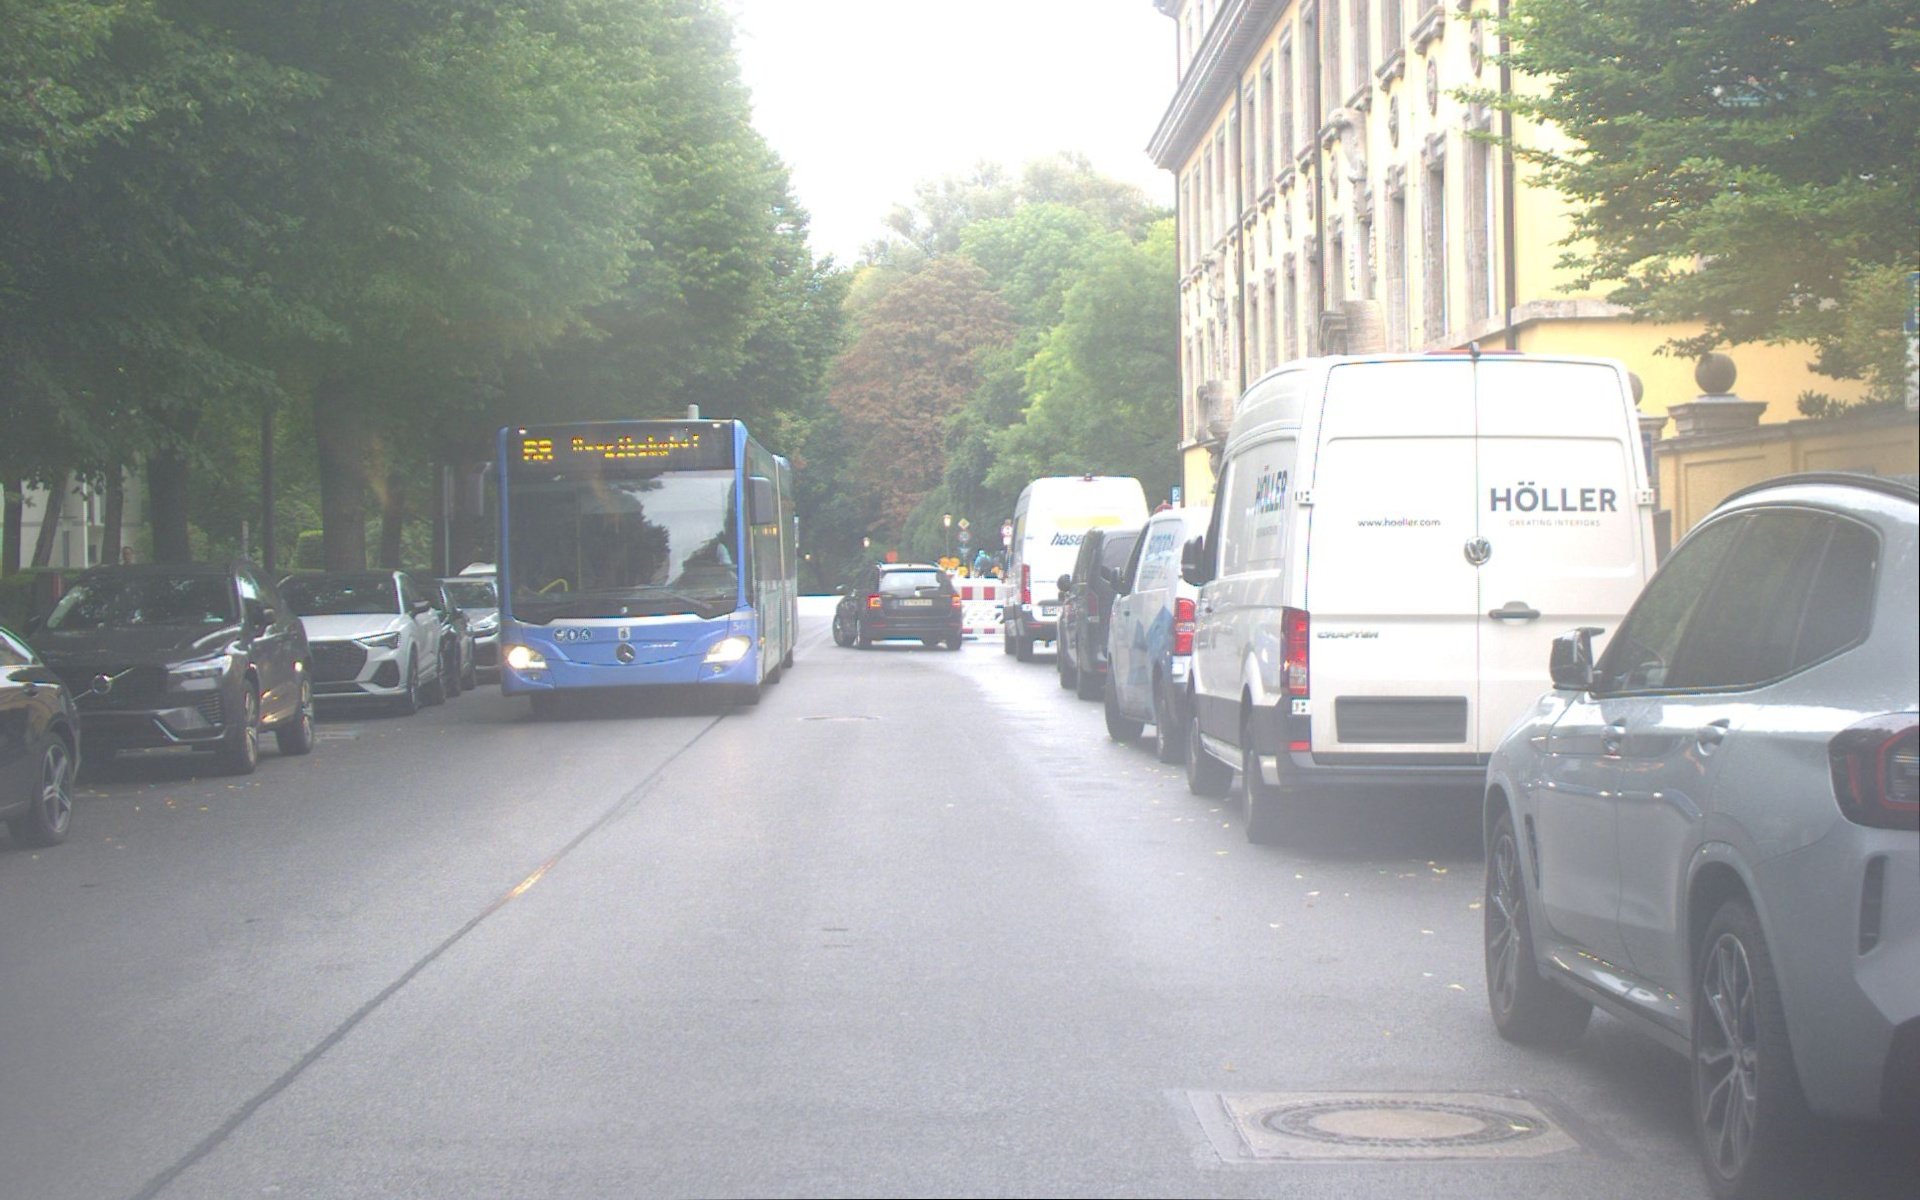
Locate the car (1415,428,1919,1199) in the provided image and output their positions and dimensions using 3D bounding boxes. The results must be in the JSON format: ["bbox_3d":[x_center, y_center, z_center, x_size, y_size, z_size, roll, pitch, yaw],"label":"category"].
[{"bbox_3d":[2.469,0.518,8.908,1.858,1.735,4.603,0,1,-1],"label":"car"}]

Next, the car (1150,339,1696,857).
[{"bbox_3d":[2.412,-0.001,19.598,2.095,2.479,5.740,-1,0,-2],"label":"car"}]

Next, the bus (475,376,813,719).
[{"bbox_3d":[-3.418,-0.471,42.079,2.859,3.228,18.427,-1,0,-2],"label":"bus"}]

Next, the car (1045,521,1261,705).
[{"bbox_3d":[2.047,0.120,37.902,1.870,1.862,4.987,-1,0,-2],"label":"car"}]

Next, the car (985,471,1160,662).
[{"bbox_3d":[1.617,-0.497,52.346,2.054,2.664,7.615,-1,0,-2],"label":"car"}]

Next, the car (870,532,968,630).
[{"bbox_3d":[-0.667,-0.327,58.502,1.577,1.578,4.044,-1,0,0],"label":"car"}]

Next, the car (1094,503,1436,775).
[{"bbox_3d":[2.246,0.249,26.719,2.013,1.900,5.164,0,1,-2],"label":"car"}]

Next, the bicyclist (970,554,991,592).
[{"bbox_3d":[0.821,-1.073,136.873,0.680,1.499,0.901,-1,1,-9],"label":"bicyclist"}]

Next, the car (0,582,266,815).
[{"bbox_3d":[-6.054,0.621,23.837,1.790,1.449,3.949,-1,1,-2],"label":"car"}]

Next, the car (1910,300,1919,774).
[{"bbox_3d":[2.732,0.422,3.411,1.858,1.961,5.445,-1,0,-2],"label":"car"}]

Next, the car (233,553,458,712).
[{"bbox_3d":[-6.624,0.322,37.477,1.784,1.592,4.585,-1,0,-2],"label":"car"}]

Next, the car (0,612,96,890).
[{"bbox_3d":[-5.858,0.795,17.734,1.790,1.433,4.551,-1,0,-2],"label":"car"}]

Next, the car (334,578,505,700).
[{"bbox_3d":[-6.863,0.466,44.002,1.672,1.464,4.104,-1,0,-2],"label":"car"}]
